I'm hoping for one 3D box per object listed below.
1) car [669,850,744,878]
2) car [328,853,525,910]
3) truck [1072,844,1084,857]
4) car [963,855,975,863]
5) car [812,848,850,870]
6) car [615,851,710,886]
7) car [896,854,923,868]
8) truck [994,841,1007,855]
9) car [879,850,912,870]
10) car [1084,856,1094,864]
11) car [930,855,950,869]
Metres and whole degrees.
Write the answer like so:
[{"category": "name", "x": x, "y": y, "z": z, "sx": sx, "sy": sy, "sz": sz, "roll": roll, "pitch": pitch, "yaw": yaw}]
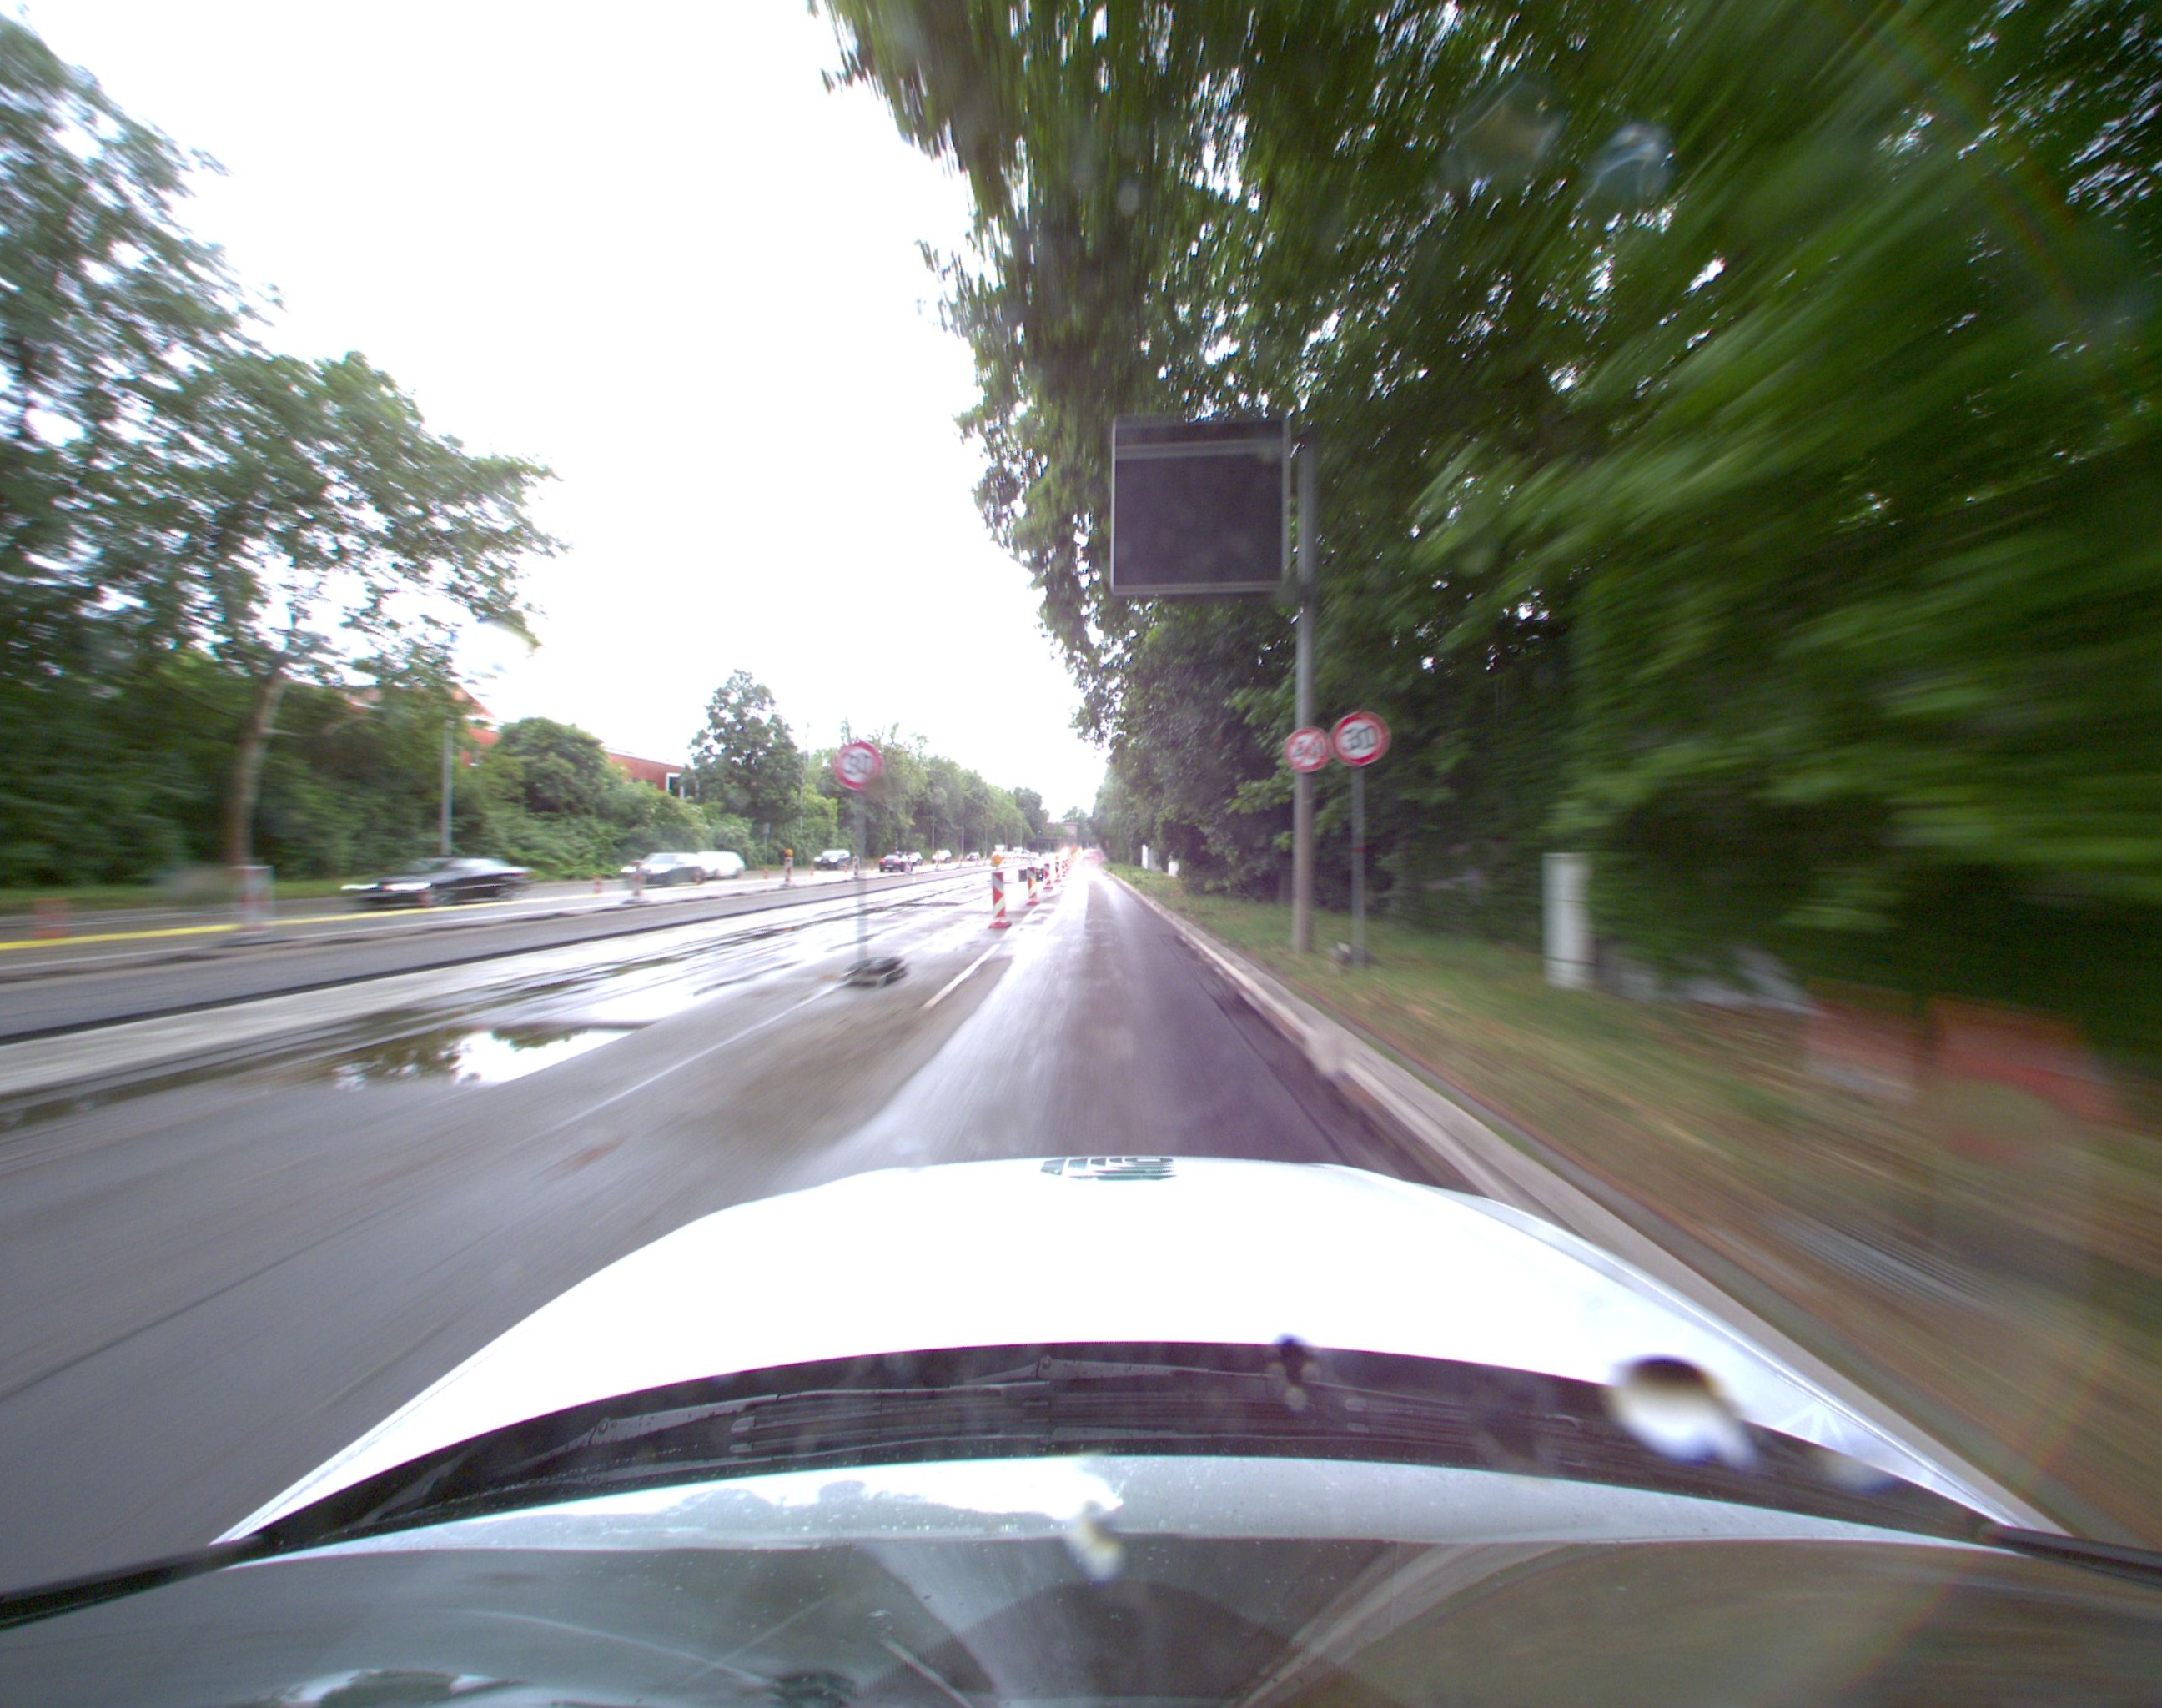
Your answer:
[{"category": "car", "x": -19.994, "y": 0.498, "z": 43.697, "sx": 1.812, "sy": 1.419, "sz": 4.603, "roll": 1, "pitch": 0, "yaw": 0}, {"category": "car", "x": -17.786, "y": 0.686, "z": 22.454, "sx": 1.812, "sy": 1.355, "sz": 4.390, "roll": -1, "pitch": 0, "yaw": 0}, {"category": "truck", "x": -0.792, "y": -0.889, "z": 229.738, "sx": 3.248, "sy": 3.497, "sz": 13.870, "roll": 1, "pitch": 0, "yaw": 0}, {"category": "car", "x": -18.172, "y": 0.787, "z": 132.346, "sx": 1.444, "sy": 1.332, "sz": 3.858, "roll": 0, "pitch": 0, "yaw": -2}, {"category": "car", "x": -20.241, "y": 0.400, "z": 66.192, "sx": 1.647, "sy": 1.685, "sz": 4.533, "roll": 1, "pitch": 0, "yaw": 0}, {"category": "car", "x": -17.771, "y": 0.561, "z": 34.791, "sx": 1.812, "sy": 1.355, "sz": 4.205, "roll": -1, "pitch": 0, "yaw": 0}, {"category": "car", "x": -17.912, "y": 0.706, "z": 85.150, "sx": 1.755, "sy": 1.483, "sz": 4.899, "roll": 0, "pitch": 0, "yaw": 0}, {"category": "truck", "x": -18.383, "y": -1.357, "z": 186.348, "sx": 2.238, "sy": 2.940, "sz": 6.937, "roll": 1, "pitch": 0, "yaw": 1}, {"category": "car", "x": -14.276, "y": 0.440, "z": 62.990, "sx": 1.602, "sy": 1.404, "sz": 4.041, "roll": 1, "pitch": 0, "yaw": 0}, {"category": "car", "x": 1.340, "y": 0.982, "z": 138.541, "sx": 1.692, "sy": 1.336, "sz": 3.491, "roll": -2, "pitch": 0, "yaw": 0}, {"category": "car", "x": -17.687, "y": 0.946, "z": 102.559, "sx": 1.729, "sy": 1.722, "sz": 4.493, "roll": 1, "pitch": 0, "yaw": 0}]
